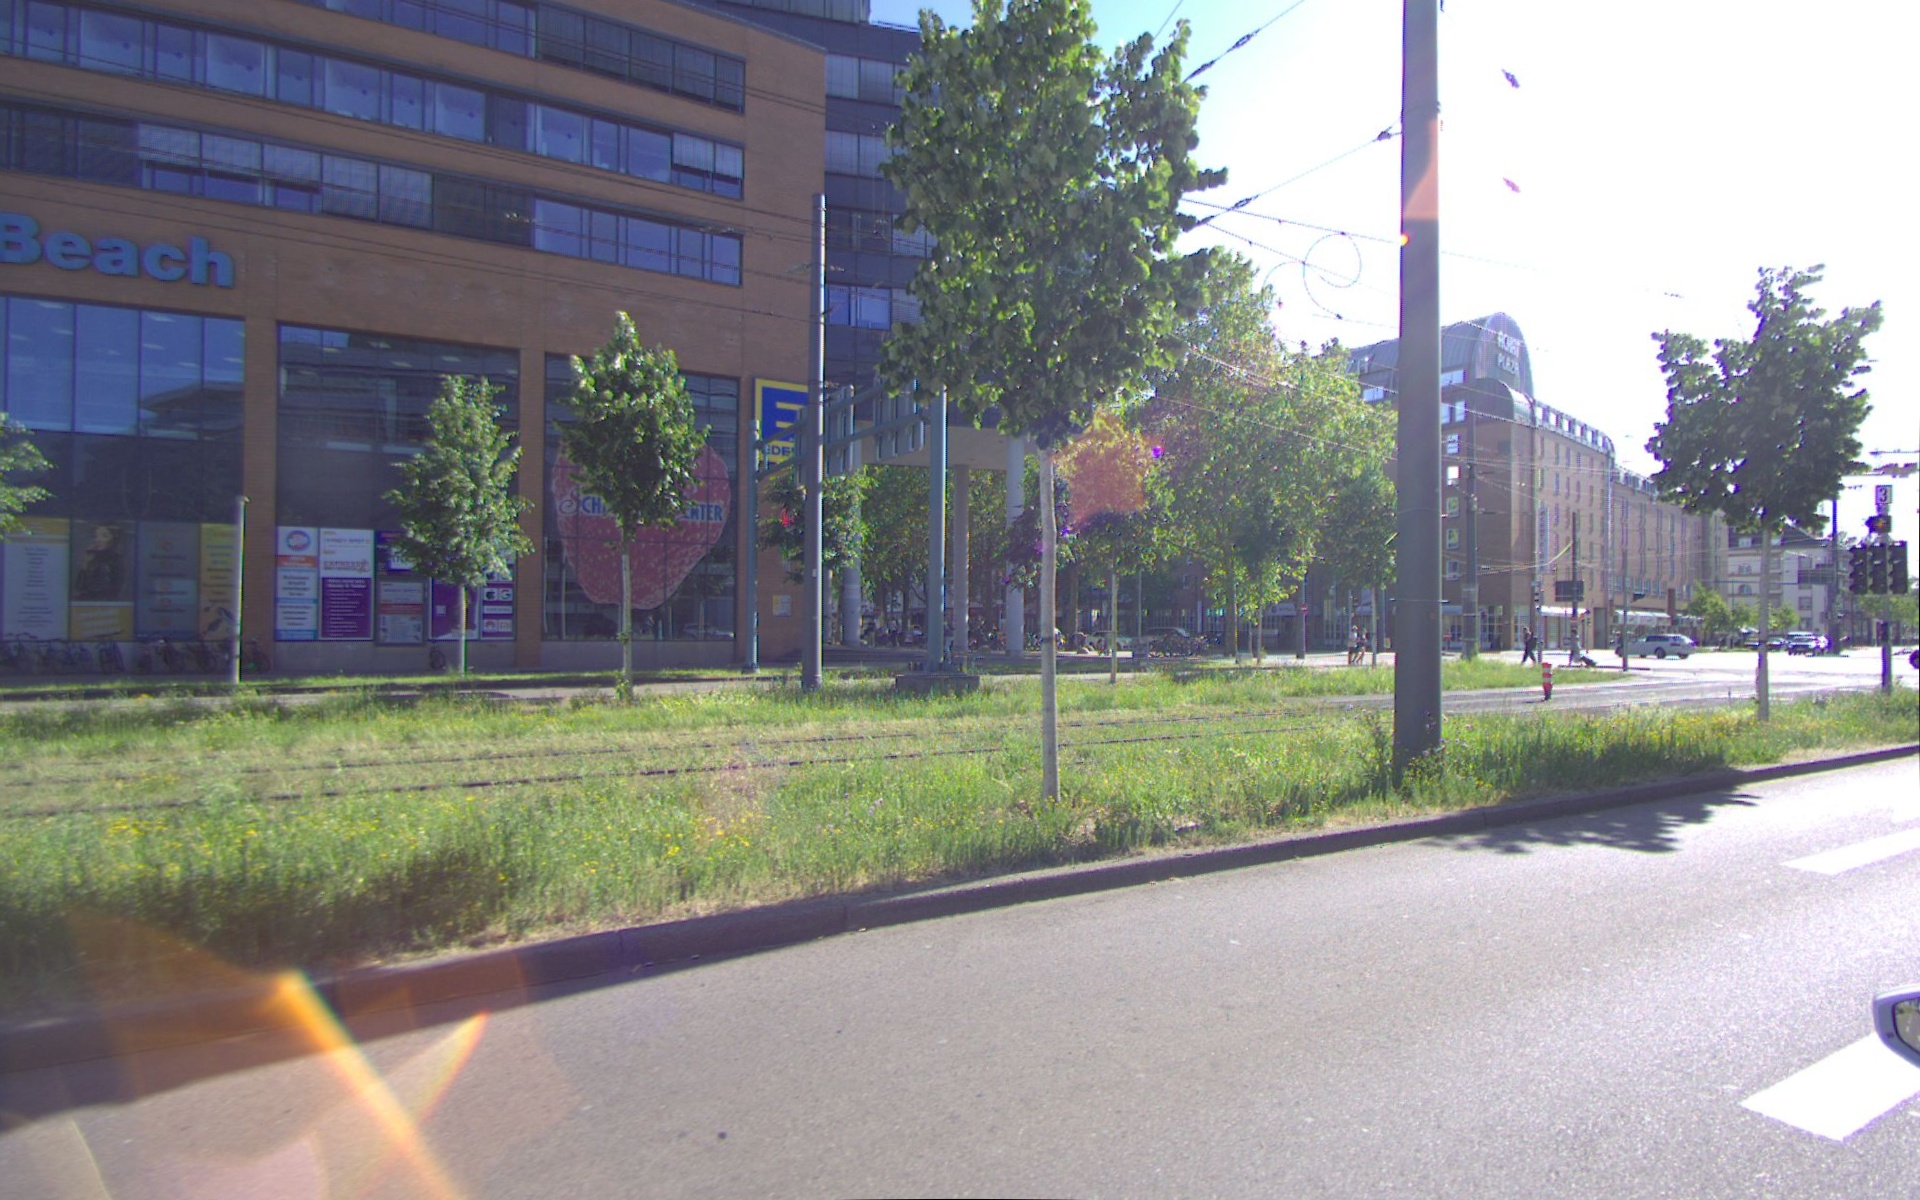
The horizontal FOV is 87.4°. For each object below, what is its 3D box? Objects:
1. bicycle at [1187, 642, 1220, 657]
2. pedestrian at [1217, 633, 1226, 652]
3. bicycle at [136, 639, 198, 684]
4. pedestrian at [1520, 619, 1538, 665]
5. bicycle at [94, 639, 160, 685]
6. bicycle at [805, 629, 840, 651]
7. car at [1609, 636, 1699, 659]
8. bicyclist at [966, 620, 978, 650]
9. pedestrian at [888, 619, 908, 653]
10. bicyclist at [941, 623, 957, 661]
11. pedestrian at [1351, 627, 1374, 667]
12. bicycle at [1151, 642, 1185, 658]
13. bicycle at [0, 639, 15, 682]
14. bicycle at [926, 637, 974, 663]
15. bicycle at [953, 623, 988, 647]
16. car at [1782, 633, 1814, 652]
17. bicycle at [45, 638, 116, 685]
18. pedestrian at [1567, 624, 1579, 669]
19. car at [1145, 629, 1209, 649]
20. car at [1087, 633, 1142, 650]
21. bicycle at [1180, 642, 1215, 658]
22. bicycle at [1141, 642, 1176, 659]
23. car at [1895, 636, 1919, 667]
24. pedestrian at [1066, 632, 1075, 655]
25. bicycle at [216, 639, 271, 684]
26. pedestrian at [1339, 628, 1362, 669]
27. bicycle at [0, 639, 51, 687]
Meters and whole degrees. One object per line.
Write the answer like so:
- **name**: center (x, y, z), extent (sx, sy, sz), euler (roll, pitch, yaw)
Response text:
- **bicycle**: center (13.649, 2.769, 56.337), extent (0.373, 0.809, 2.007), euler (2, -2, -40)
- **pedestrian**: center (27.932, 4.529, 107.262), extent (0.827, 1.957, 0.553), euler (2, -2, -41)
- **bicycle**: center (-21.924, 1.674, 27.810), extent (0.742, 1.138, 2.169), euler (1, 0, -22)
- **pedestrian**: center (23.096, 1.686, 40.767), extent (0.571, 1.855, 0.498), euler (0, -1, 20)
- **bicycle**: center (-22.828, 1.672, 27.571), extent (0.742, 1.138, 2.169), euler (1, 0, -22)
- **bicycle**: center (-7.243, 2.079, 52.799), extent (1.784, 1.149, 0.490), euler (1, -1, -33)
- **car**: center (43.514, 2.948, 63.105), extent (2.032, 1.399, 4.400), euler (1, -2, -14)
- **bicyclist**: center (0.701, 2.022, 58.172), extent (0.478, 1.744, 0.463), euler (-1, -2, 45)
- **pedestrian**: center (-3.056, 1.768, 49.692), extent (0.779, 1.645, 0.503), euler (3, -2, -32)
- **bicyclist**: center (-0.420, 1.559, 37.539), extent (0.476, 1.395, 0.338), euler (3, -2, -33)
- **pedestrian**: center (18.778, 2.199, 46.874), extent (0.616, 1.855, 0.759), euler (1, -1, -23)
- **bicycle**: center (11.055, 2.668, 53.480), extent (0.373, 0.809, 2.007), euler (2, -2, -40)
- **bicycle**: center (-25.755, 1.615, 26.286), extent (0.742, 1.138, 2.169), euler (1, 0, -22)
- **bicycle**: center (-0.357, 1.869, 37.577), extent (1.875, 0.938, 0.351), euler (3, -2, -33)
- **bicycle**: center (0.605, 1.999, 58.291), extent (0.463, 1.370, 2.340), euler (2, -2, -45)
- **car**: center (69.281, 3.530, 83.024), extent (3.893, 1.416, 1.594), euler (1, -5, -44)
- **bicycle**: center (-23.755, 1.645, 27.181), extent (0.742, 1.138, 2.169), euler (1, 0, -22)
- **pedestrian**: center (25.357, 1.924, 41.547), extent (0.379, 1.855, 0.463), euler (0, -1, 27)
- **car**: center (14.392, 2.593, 66.710), extent (1.978, 1.247, 3.965), euler (1, -2, -32)
- **car**: center (10.950, 2.910, 71.358), extent (1.762, 1.158, 3.965), euler (1, -2, -32)
- **bicycle**: center (12.994, 2.722, 54.989), extent (0.373, 0.809, 2.007), euler (2, -2, -40)
- **bicycle**: center (10.356, 2.629, 52.397), extent (0.373, 0.809, 2.007), euler (2, -2, -40)
- **car**: center (46.421, 2.446, 47.228), extent (1.626, 1.468, 3.586), euler (0, -2, 1)
- **pedestrian**: center (6.959, 2.746, 63.311), extent (0.491, 1.471, 0.648), euler (0, -1, -5)
- **bicycle**: center (-20.237, 1.718, 28.419), extent (0.742, 1.138, 2.169), euler (1, 0, -22)
- **pedestrian**: center (18.059, 2.243, 46.441), extent (0.616, 1.855, 0.758), euler (1, -1, -26)
- **bicycle**: center (-24.882, 1.626, 26.384), extent (0.742, 1.138, 2.169), euler (1, 0, -22)
